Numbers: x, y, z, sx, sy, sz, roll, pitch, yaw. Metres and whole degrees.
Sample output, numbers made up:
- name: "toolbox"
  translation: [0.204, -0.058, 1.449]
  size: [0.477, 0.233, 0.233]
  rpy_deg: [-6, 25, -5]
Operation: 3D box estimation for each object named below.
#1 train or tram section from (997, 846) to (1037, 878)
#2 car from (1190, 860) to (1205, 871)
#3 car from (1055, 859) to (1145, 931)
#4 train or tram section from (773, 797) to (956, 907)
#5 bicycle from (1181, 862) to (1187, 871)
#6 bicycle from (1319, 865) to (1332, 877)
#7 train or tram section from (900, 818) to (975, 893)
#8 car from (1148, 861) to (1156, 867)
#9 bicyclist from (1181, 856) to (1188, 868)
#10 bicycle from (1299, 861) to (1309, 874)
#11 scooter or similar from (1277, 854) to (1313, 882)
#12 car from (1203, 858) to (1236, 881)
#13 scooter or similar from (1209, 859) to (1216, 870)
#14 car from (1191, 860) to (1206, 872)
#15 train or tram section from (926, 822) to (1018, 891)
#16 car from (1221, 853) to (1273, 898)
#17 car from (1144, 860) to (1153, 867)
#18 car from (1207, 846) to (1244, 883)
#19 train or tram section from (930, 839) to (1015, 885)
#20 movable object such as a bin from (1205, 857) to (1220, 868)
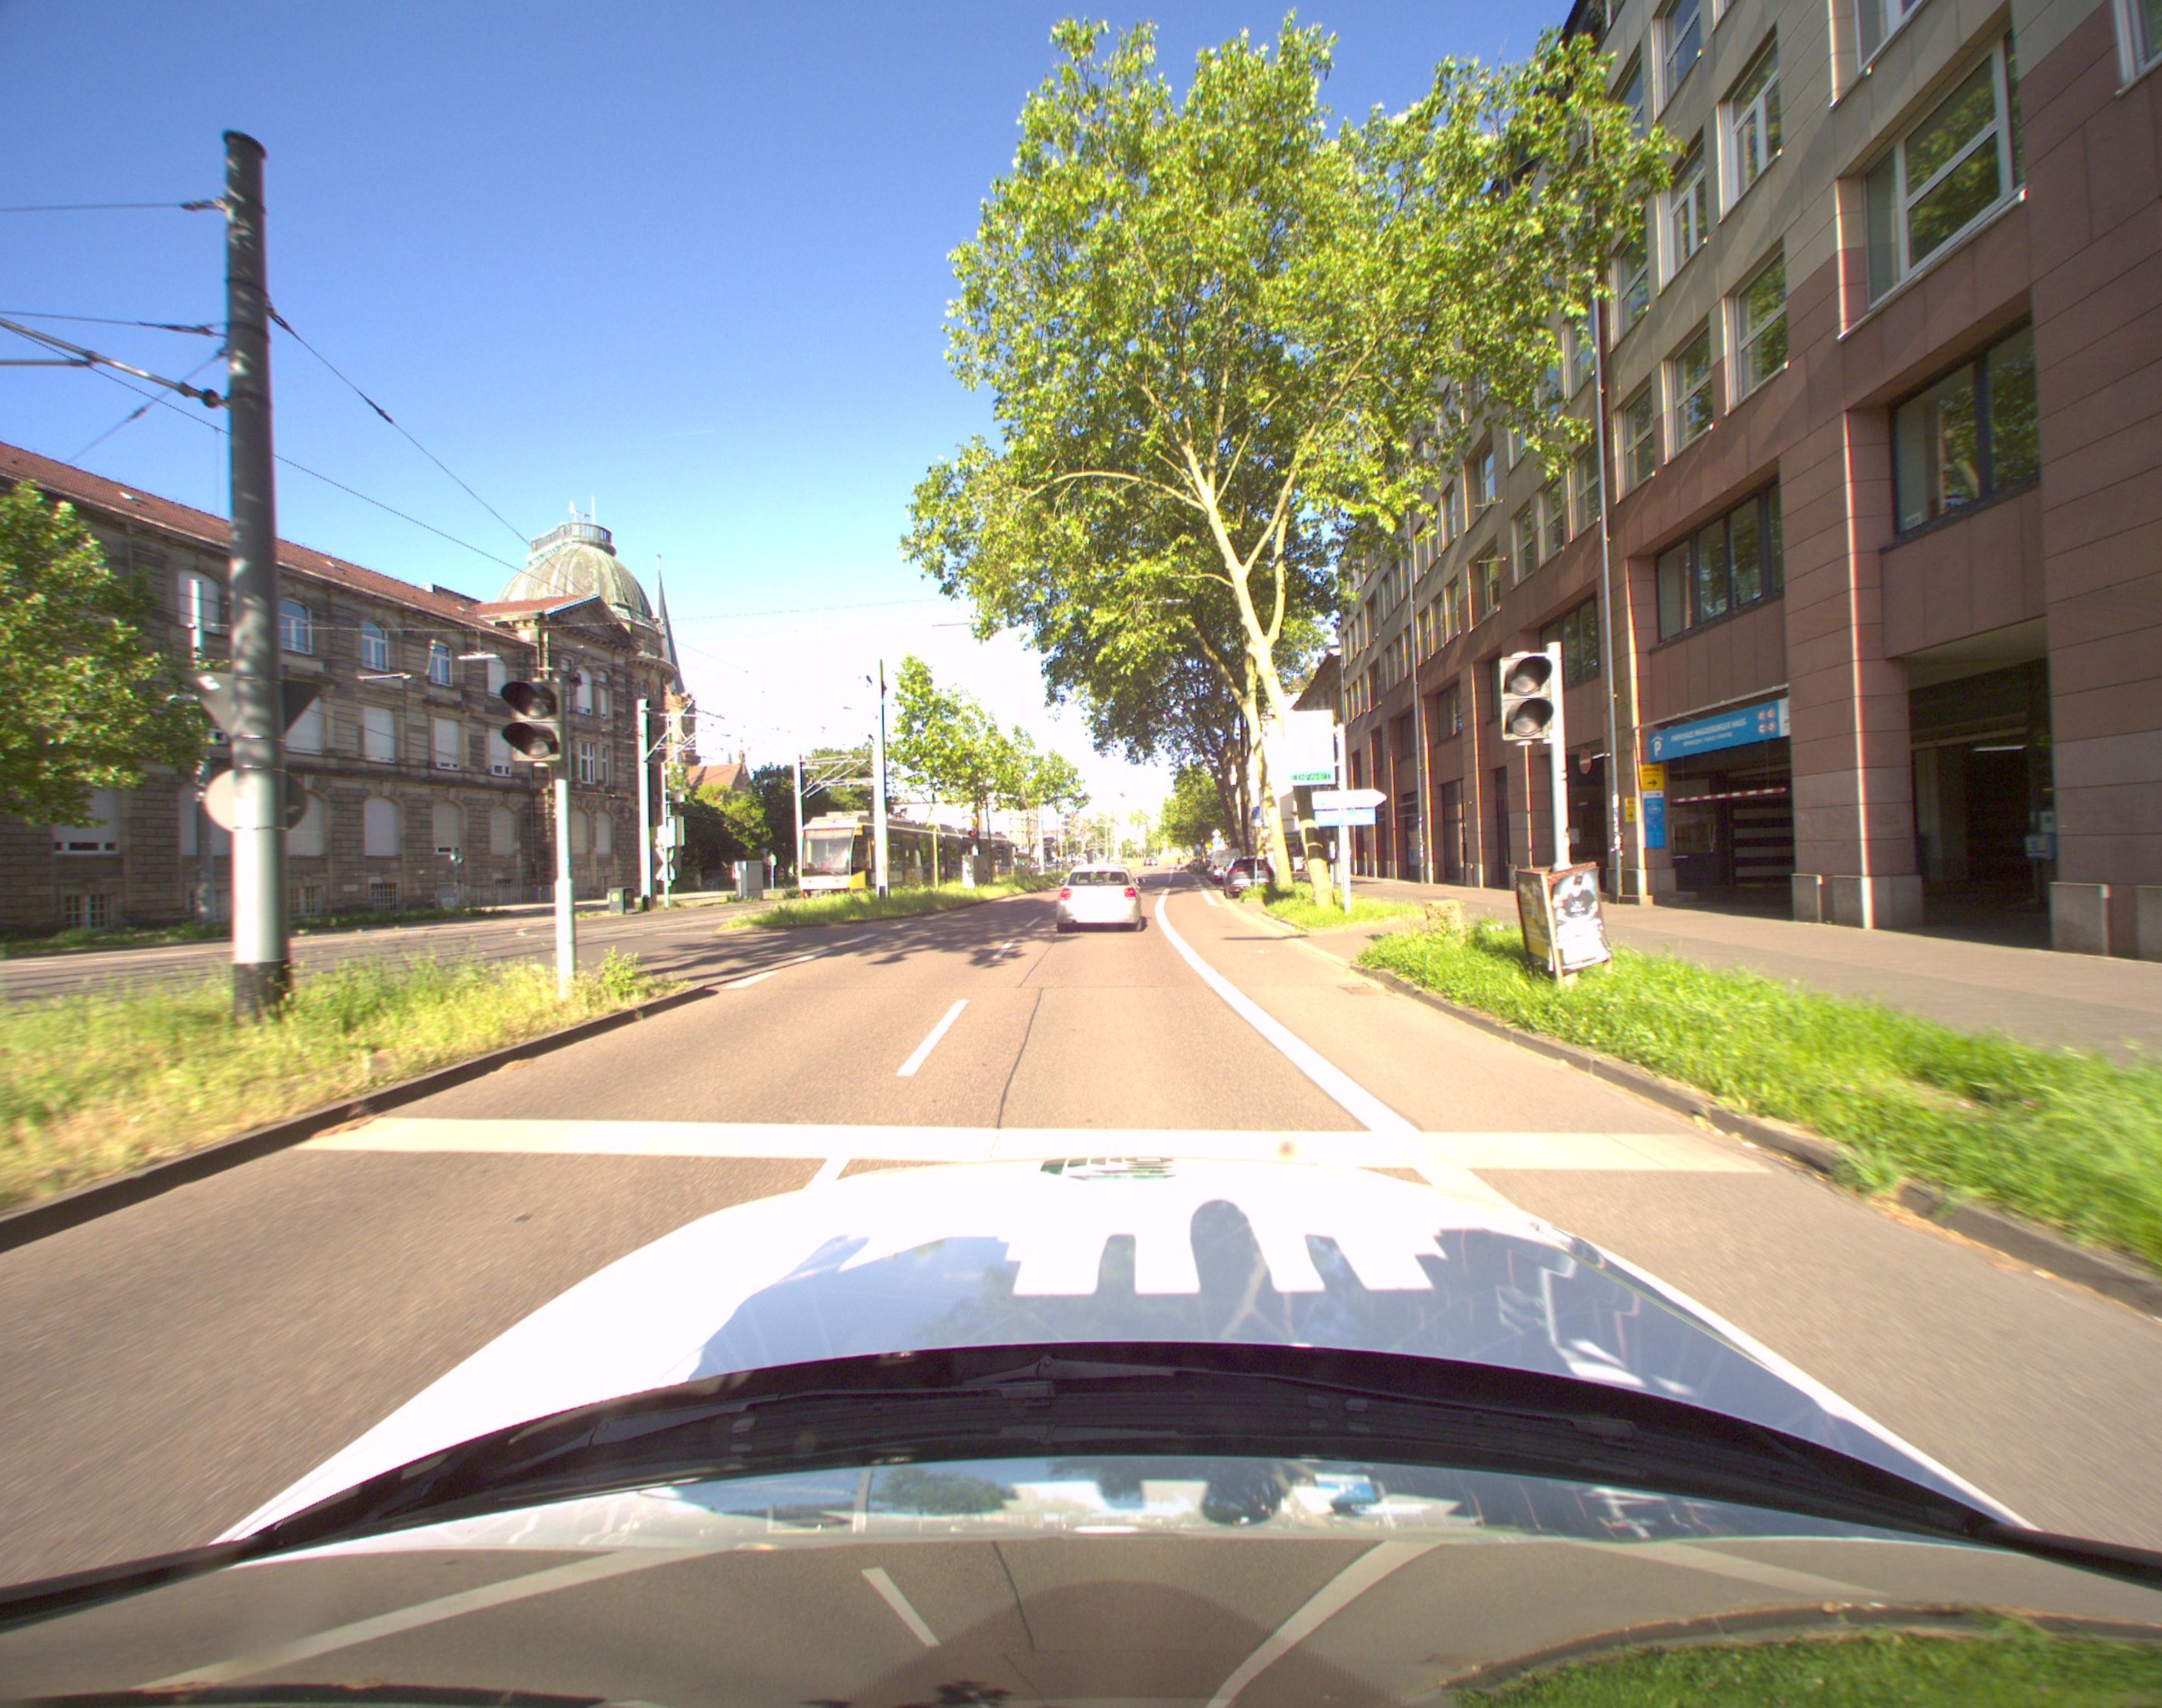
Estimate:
- name: "train or tram section"
  translation: [-7.354, 0.930, 95.360]
  size: [2.948, 3.484, 11.299]
  rpy_deg: [0, -1, 4]
- name: "car"
  translation: [16.157, 1.603, 113.072]
  size: [2.028, 1.509, 4.602]
  rpy_deg: [-1, -1, 7]
- name: "car"
  translation: [0.402, 0.849, 18.237]
  size: [1.792, 1.415, 4.000]
  rpy_deg: [0, -1, 0]
- name: "train or tram section"
  translation: [-8.680, 0.028, 35.577]
  size: [2.914, 3.812, 14.292]
  rpy_deg: [0, -1, 5]
- name: "bicycle"
  translation: [12.996, 1.568, 103.075]
  size: [0.497, 1.088, 1.997]
  rpy_deg: [0, -1, 1]
- name: "bicycle"
  translation: [16.485, 1.158, 54.917]
  size: [0.546, 0.773, 1.665]
  rpy_deg: [-3, -1, 6]
- name: "train or tram section"
  translation: [-7.760, 0.115, 44.527]
  size: [2.939, 3.897, 3.873]
  rpy_deg: [0, -1, 7]
- name: "car"
  translation: [14.815, 2.088, 169.946]
  size: [1.636, 1.421, 4.007]
  rpy_deg: [0, -1, 7]
- name: "bicyclist"
  translation: [13.057, 1.067, 103.071]
  size: [0.782, 1.531, 0.895]
  rpy_deg: [0, -1, 0]
- name: "bicycle"
  translation: [17.088, 1.048, 62.349]
  size: [0.412, 0.997, 1.886]
  rpy_deg: [-1, -1, 6]
- name: "scooter or similar"
  translation: [10.052, 0.644, 38.229]
  size: [1.532, 1.237, 0.450]
  rpy_deg: [-2, -1, 7]
- name: "car"
  translation: [9.354, 1.036, 55.264]
  size: [1.809, 1.515, 4.714]
  rpy_deg: [0, -1, 5]
- name: "scooter or similar"
  translation: [15.845, 1.269, 97.911]
  size: [0.375, 1.196, 1.584]
  rpy_deg: [-3, -1, 26]
- name: "car"
  translation: [15.172, 1.533, 105.528]
  size: [1.686, 1.502, 3.808]
  rpy_deg: [-4, -1, 6]
- name: "train or tram section"
  translation: [-6.645, 0.223, 51.799]
  size: [2.936, 3.897, 10.826]
  rpy_deg: [0, -1, 8]
- name: "car"
  translation: [6.162, 0.778, 30.527]
  size: [1.659, 1.571, 4.289]
  rpy_deg: [0, -1, 8]
- name: "car"
  translation: [13.487, 1.908, 161.733]
  size: [1.719, 1.470, 4.415]
  rpy_deg: [-1, -1, 4]
- name: "car"
  translation: [8.256, 0.618, 46.948]
  size: [1.846, 2.014, 4.732]
  rpy_deg: [0, -1, 7]
- name: "train or tram section"
  translation: [-9.184, 0.734, 72.912]
  size: [2.949, 3.484, 21.246]
  rpy_deg: [0, -1, 5]
- name: "movable object such as a bin"
  translation: [22.872, 1.432, 141.636]
  size: [1.938, 1.843, 3.481]
  rpy_deg: [-2, 0, 1]
